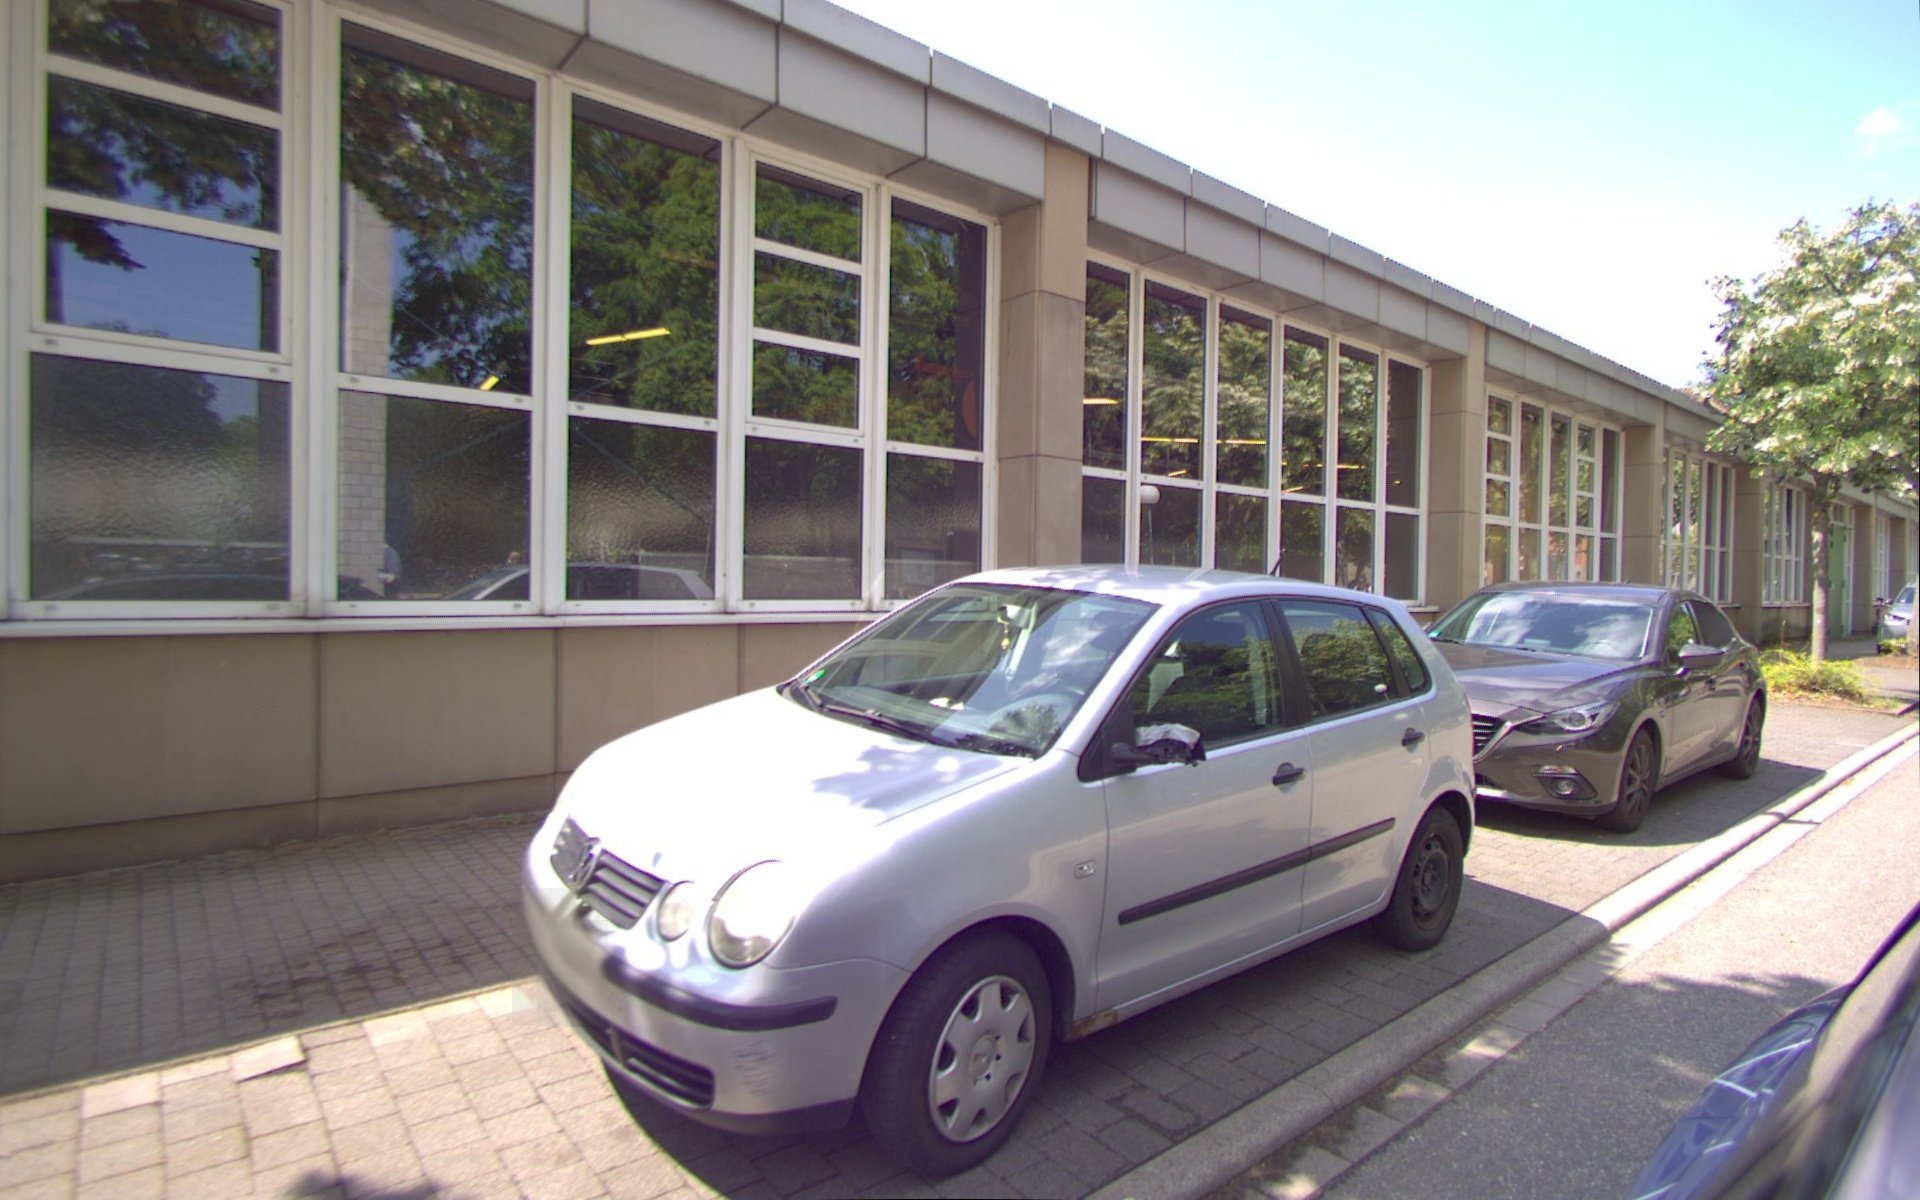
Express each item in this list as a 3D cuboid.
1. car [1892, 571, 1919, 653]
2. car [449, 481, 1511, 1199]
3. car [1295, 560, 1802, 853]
[{"bbox_3d":[22.024,0.270,22.230,4.505,1.684,1.825,0,2,-42],"label":"car"},{"bbox_3d":[0.366,0.538,3.675,3.712,1.558,1.620,0,1,-40],"label":"car"},{"bbox_3d":[4.461,0.523,7.364,4.383,1.494,1.785,0,3,-40],"label":"car"}]
